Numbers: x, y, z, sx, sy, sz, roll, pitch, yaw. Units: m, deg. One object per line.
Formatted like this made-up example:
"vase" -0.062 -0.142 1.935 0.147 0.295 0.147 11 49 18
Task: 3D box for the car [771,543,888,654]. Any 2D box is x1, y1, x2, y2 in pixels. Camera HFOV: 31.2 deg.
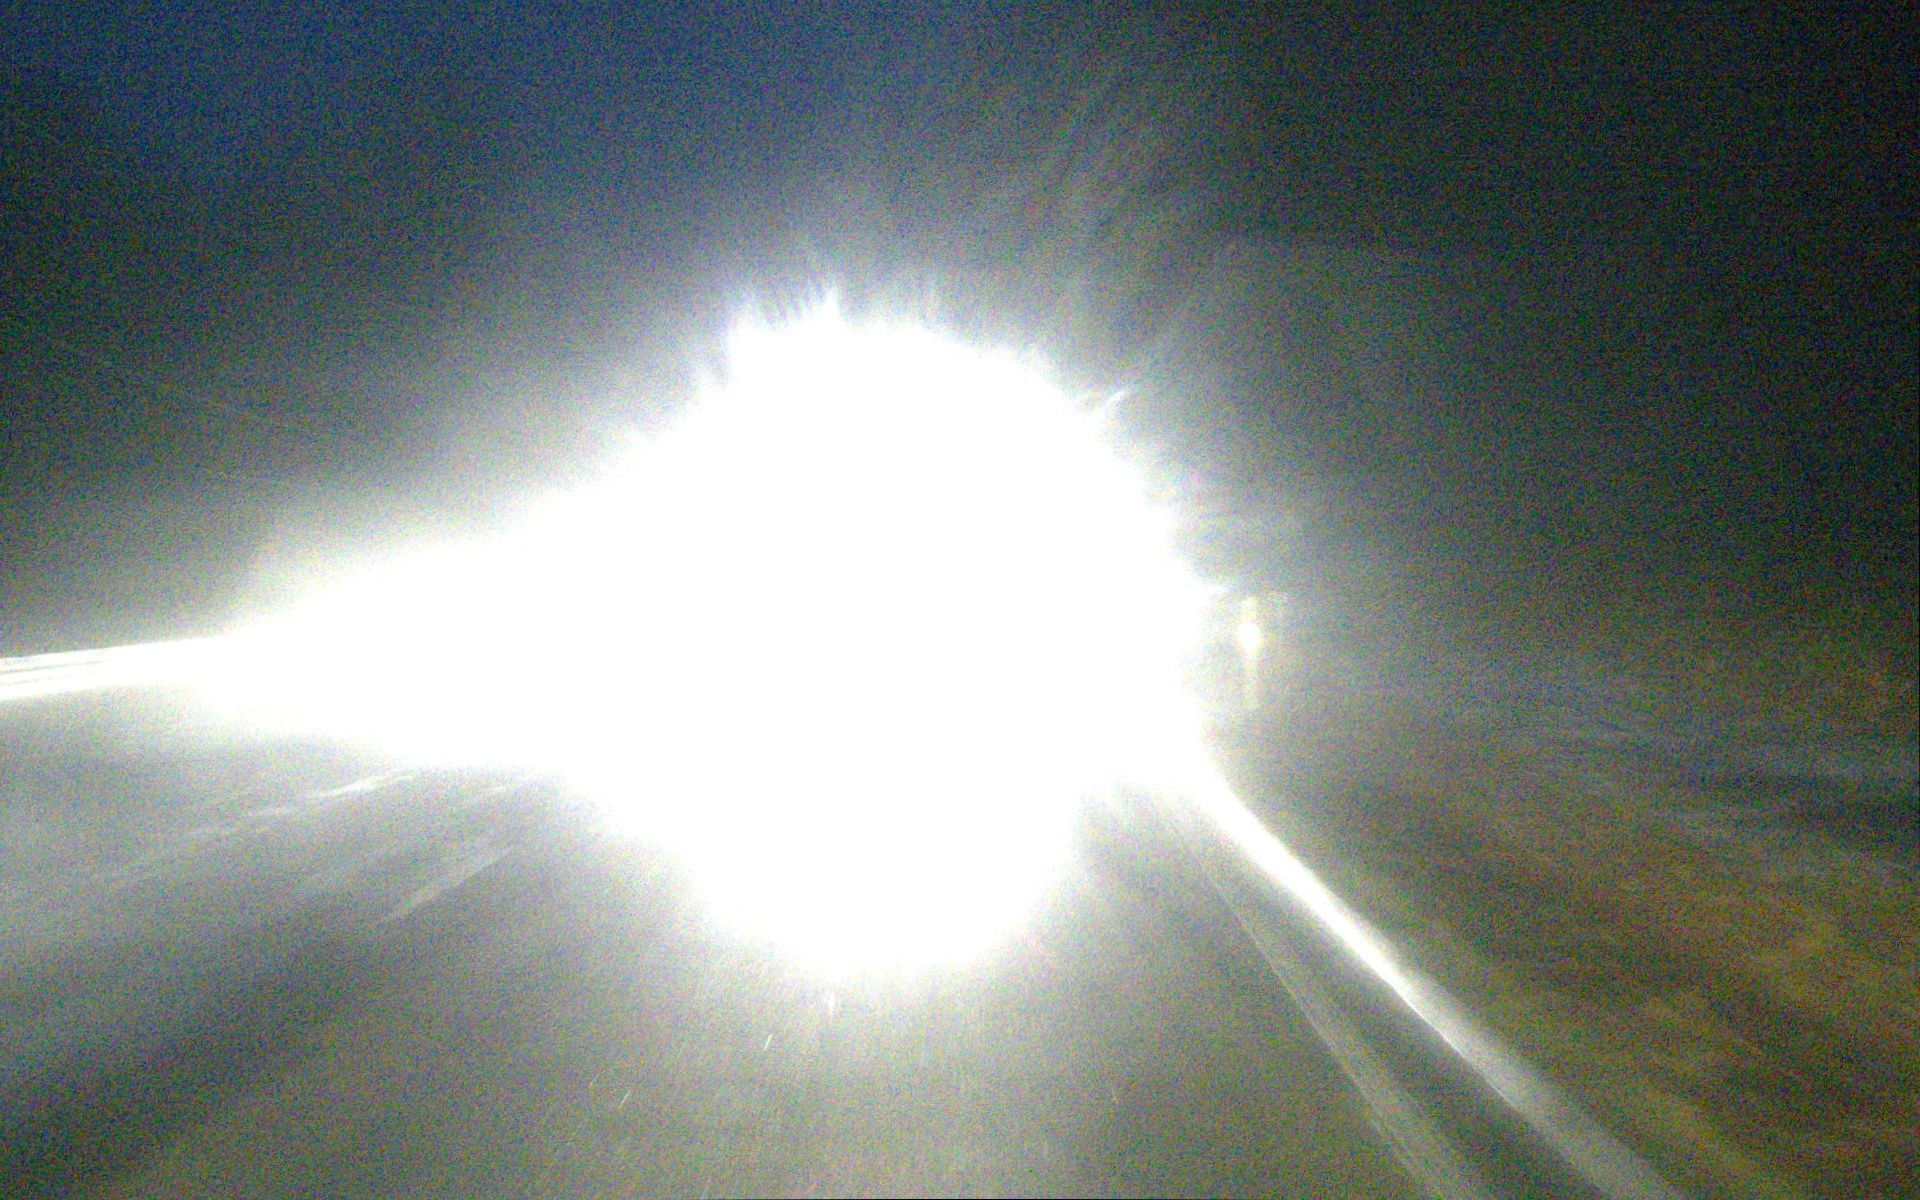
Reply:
"car" -2.325 -0.054 61.983 1.855 1.933 4.000 0 1 2

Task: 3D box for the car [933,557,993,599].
"car" 0.118 -0.793 122.483 1.917 1.459 4.259 0 1 3
